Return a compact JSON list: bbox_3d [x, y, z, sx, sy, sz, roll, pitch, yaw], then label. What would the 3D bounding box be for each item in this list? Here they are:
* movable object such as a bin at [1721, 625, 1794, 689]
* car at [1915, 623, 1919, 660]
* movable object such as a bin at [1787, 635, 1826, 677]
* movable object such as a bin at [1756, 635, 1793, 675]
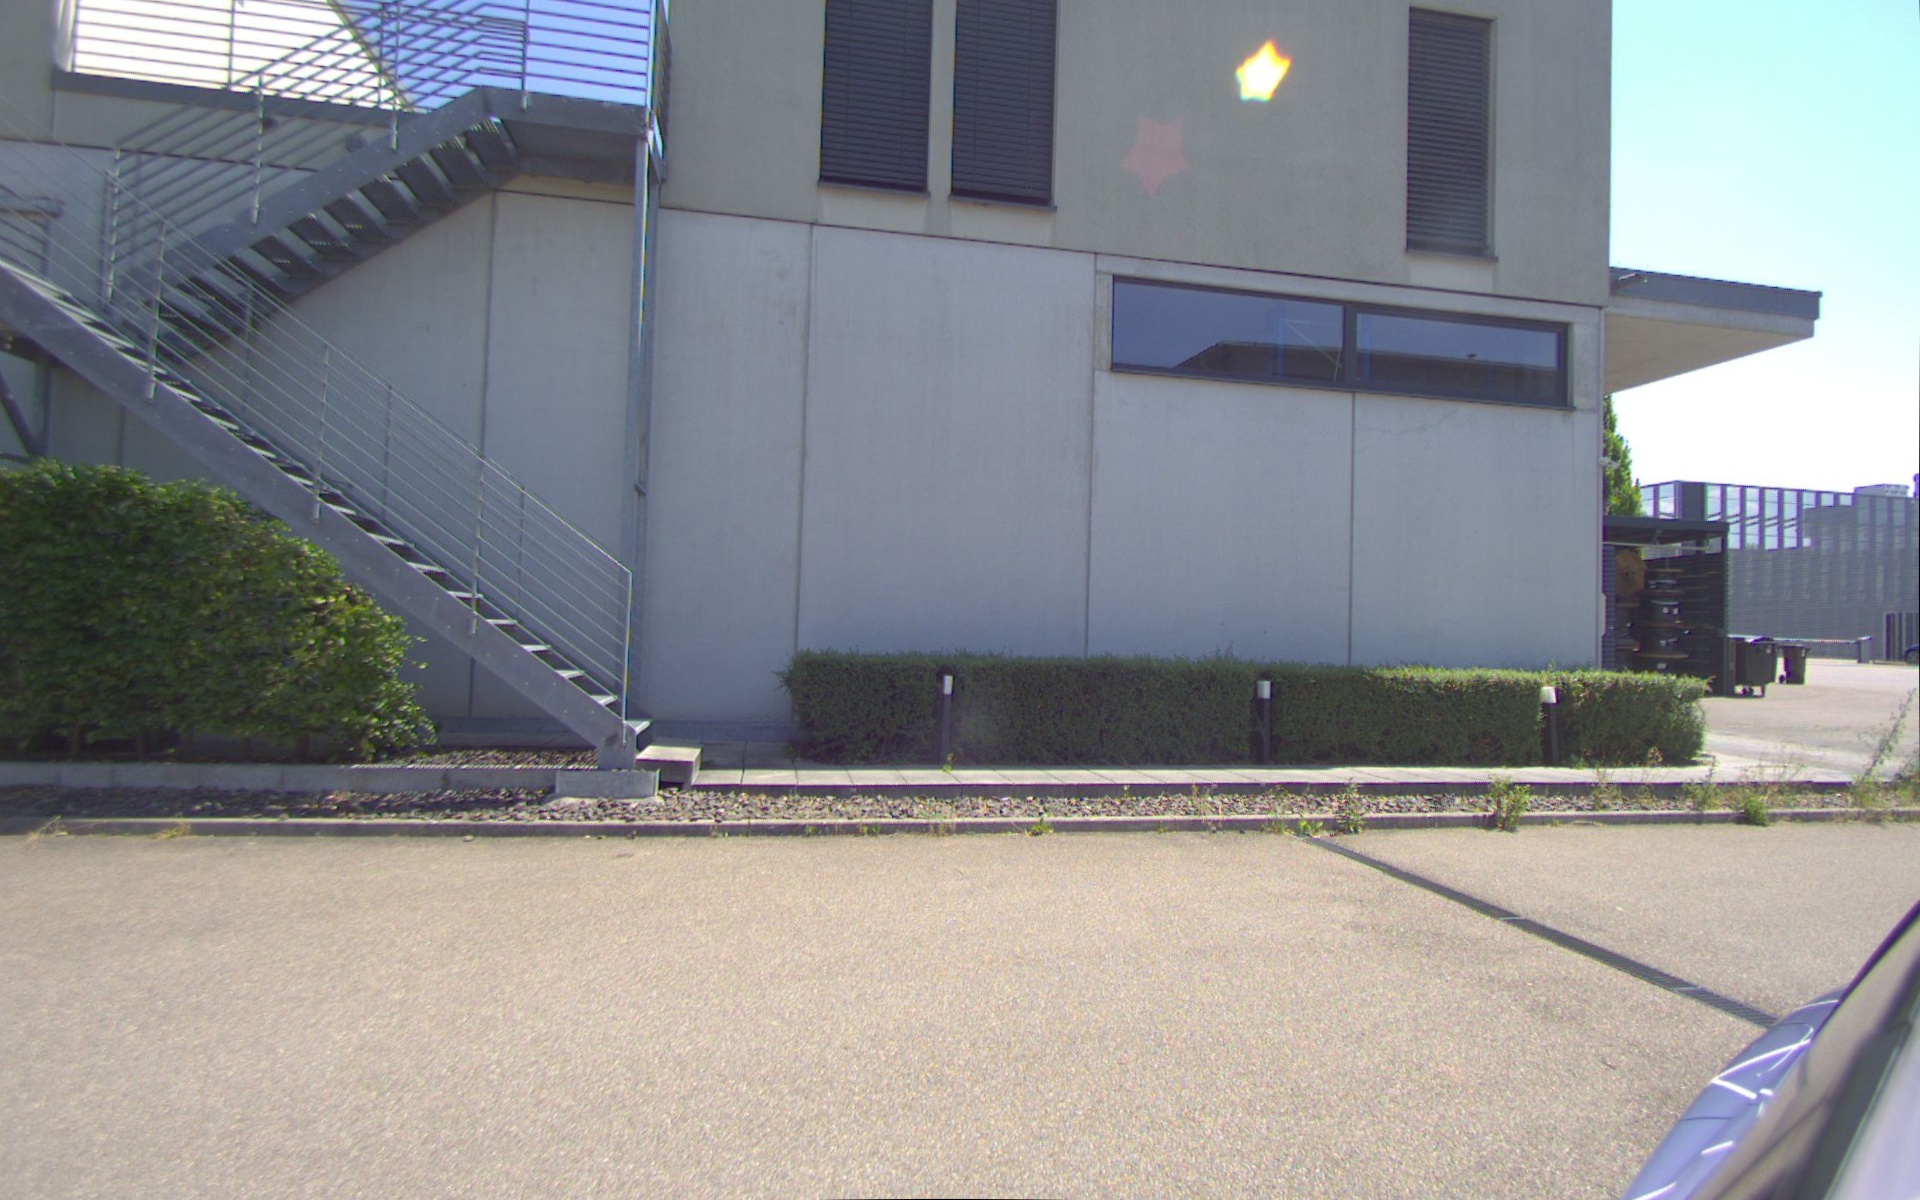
[{"bbox_3d":[16.407,1.162,20.843,0.786,1.265,0.877,1,0,-3],"label":"movable object such as a bin"},{"bbox_3d":[38.081,1.615,37.210,1.825,1.427,4.443,1,0,2],"label":"car"},{"bbox_3d":[19.938,1.312,23.844,0.537,0.929,0.585,1,0,-35],"label":"movable object such as a bin"},{"bbox_3d":[19.590,1.317,24.344,0.537,0.929,0.585,1,0,-35],"label":"movable object such as a bin"}]
